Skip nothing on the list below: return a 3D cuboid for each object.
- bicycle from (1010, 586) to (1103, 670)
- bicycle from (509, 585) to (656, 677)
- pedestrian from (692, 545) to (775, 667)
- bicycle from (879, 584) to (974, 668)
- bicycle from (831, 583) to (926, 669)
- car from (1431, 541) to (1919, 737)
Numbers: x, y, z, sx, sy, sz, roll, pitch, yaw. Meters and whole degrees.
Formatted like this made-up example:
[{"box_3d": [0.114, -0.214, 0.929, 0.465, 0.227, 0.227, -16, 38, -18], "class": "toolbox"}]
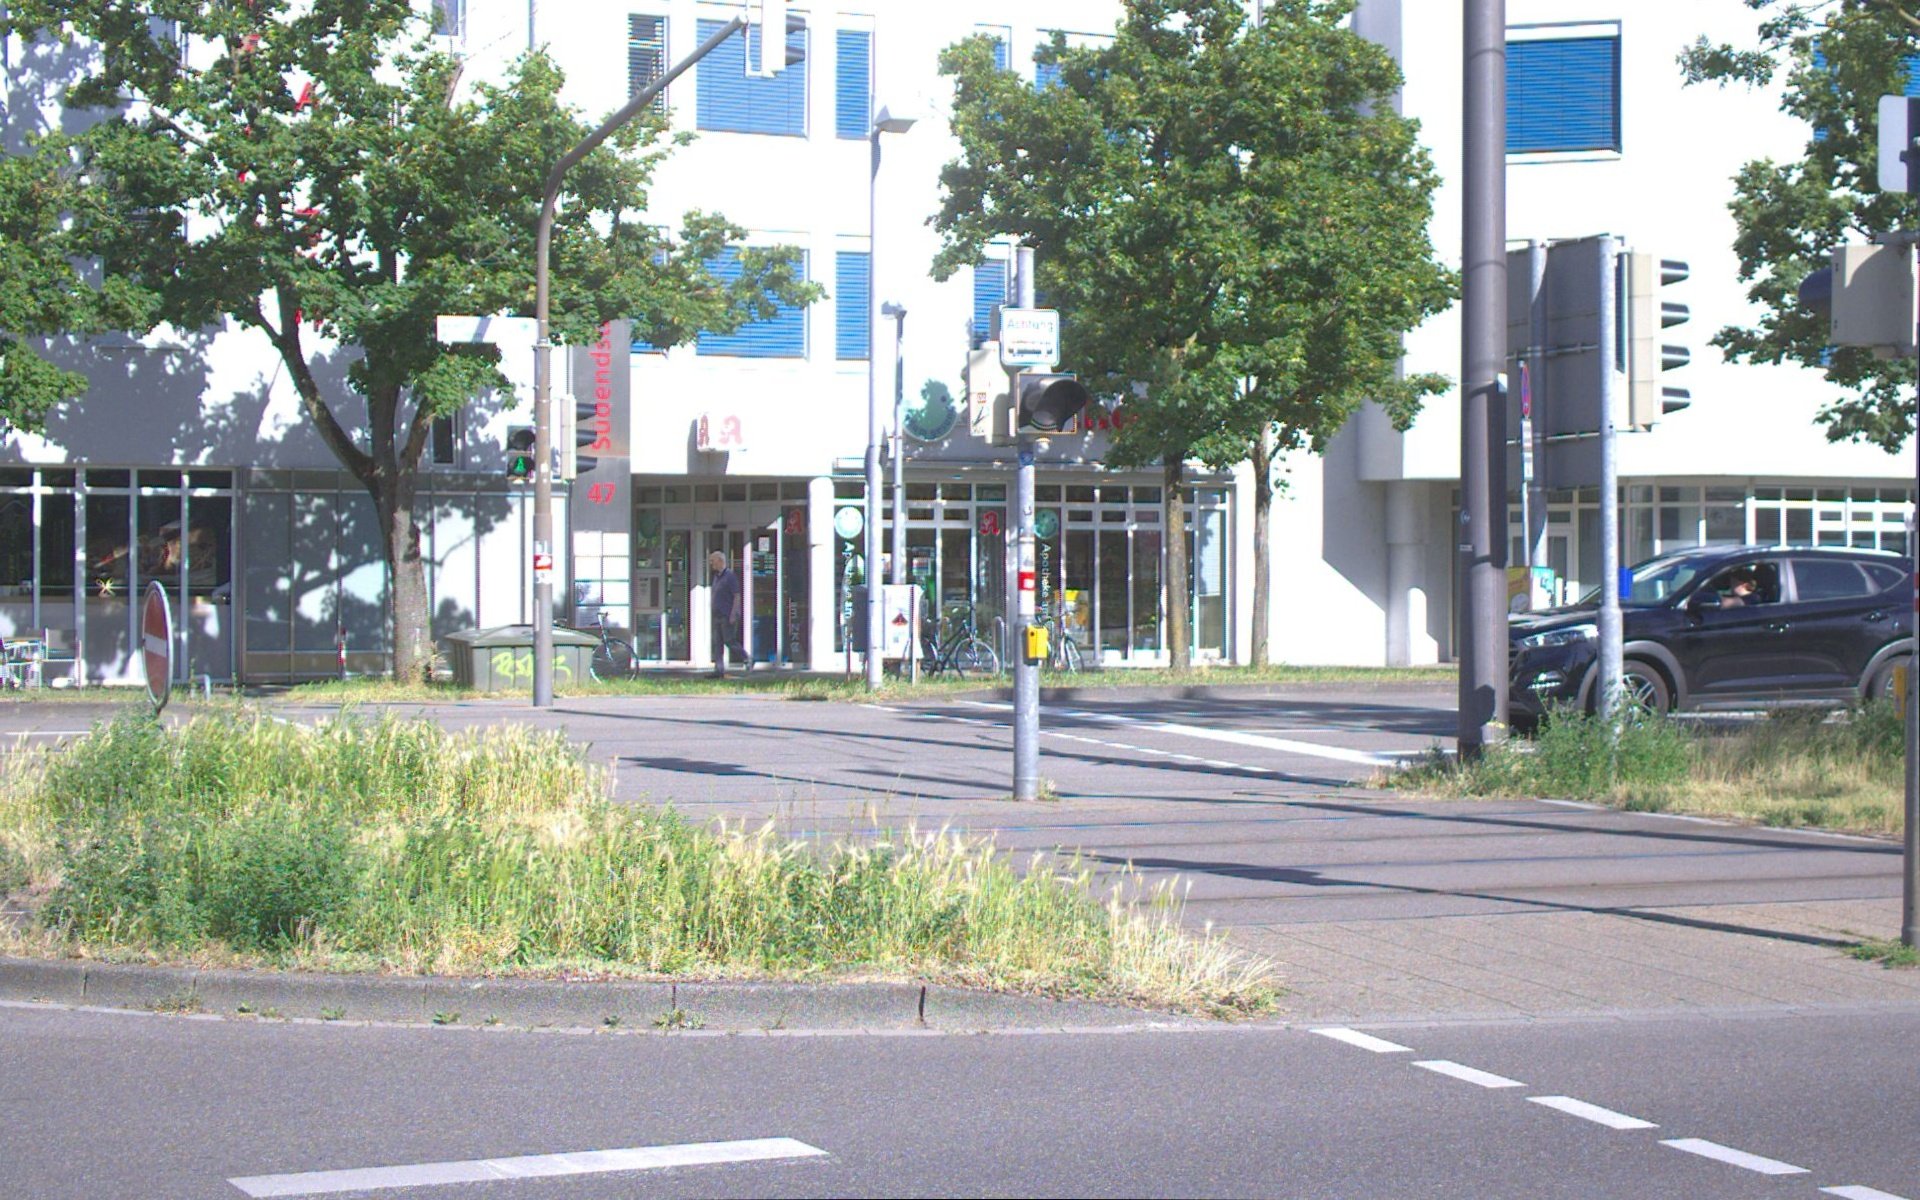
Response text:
[{"box_3d": [1.380, 0.387, 49.492, 0.560, 1.178, 1.870, 0, 0, -25], "class": "bicycle"}, {"box_3d": [-4.957, 0.393, 45.186, 1.863, 1.178, 0.562, 0, 0, -31], "class": "bicycle"}, {"box_3d": [-3.216, 0.075, 48.795, 0.989, 1.717, 0.654, 0, 0, -28], "class": "pedestrian"}, {"box_3d": [-0.487, 0.361, 49.037, 0.560, 1.178, 1.870, 0, 0, -28], "class": "bicycle"}, {"box_3d": [-1.156, 0.353, 48.363, 0.560, 1.178, 1.870, 0, 0, -28], "class": "bicycle"}, {"box_3d": [6.558, 0.304, 29.742, 4.499, 1.604, 2.001, 0, 0, -17], "class": "car"}]
